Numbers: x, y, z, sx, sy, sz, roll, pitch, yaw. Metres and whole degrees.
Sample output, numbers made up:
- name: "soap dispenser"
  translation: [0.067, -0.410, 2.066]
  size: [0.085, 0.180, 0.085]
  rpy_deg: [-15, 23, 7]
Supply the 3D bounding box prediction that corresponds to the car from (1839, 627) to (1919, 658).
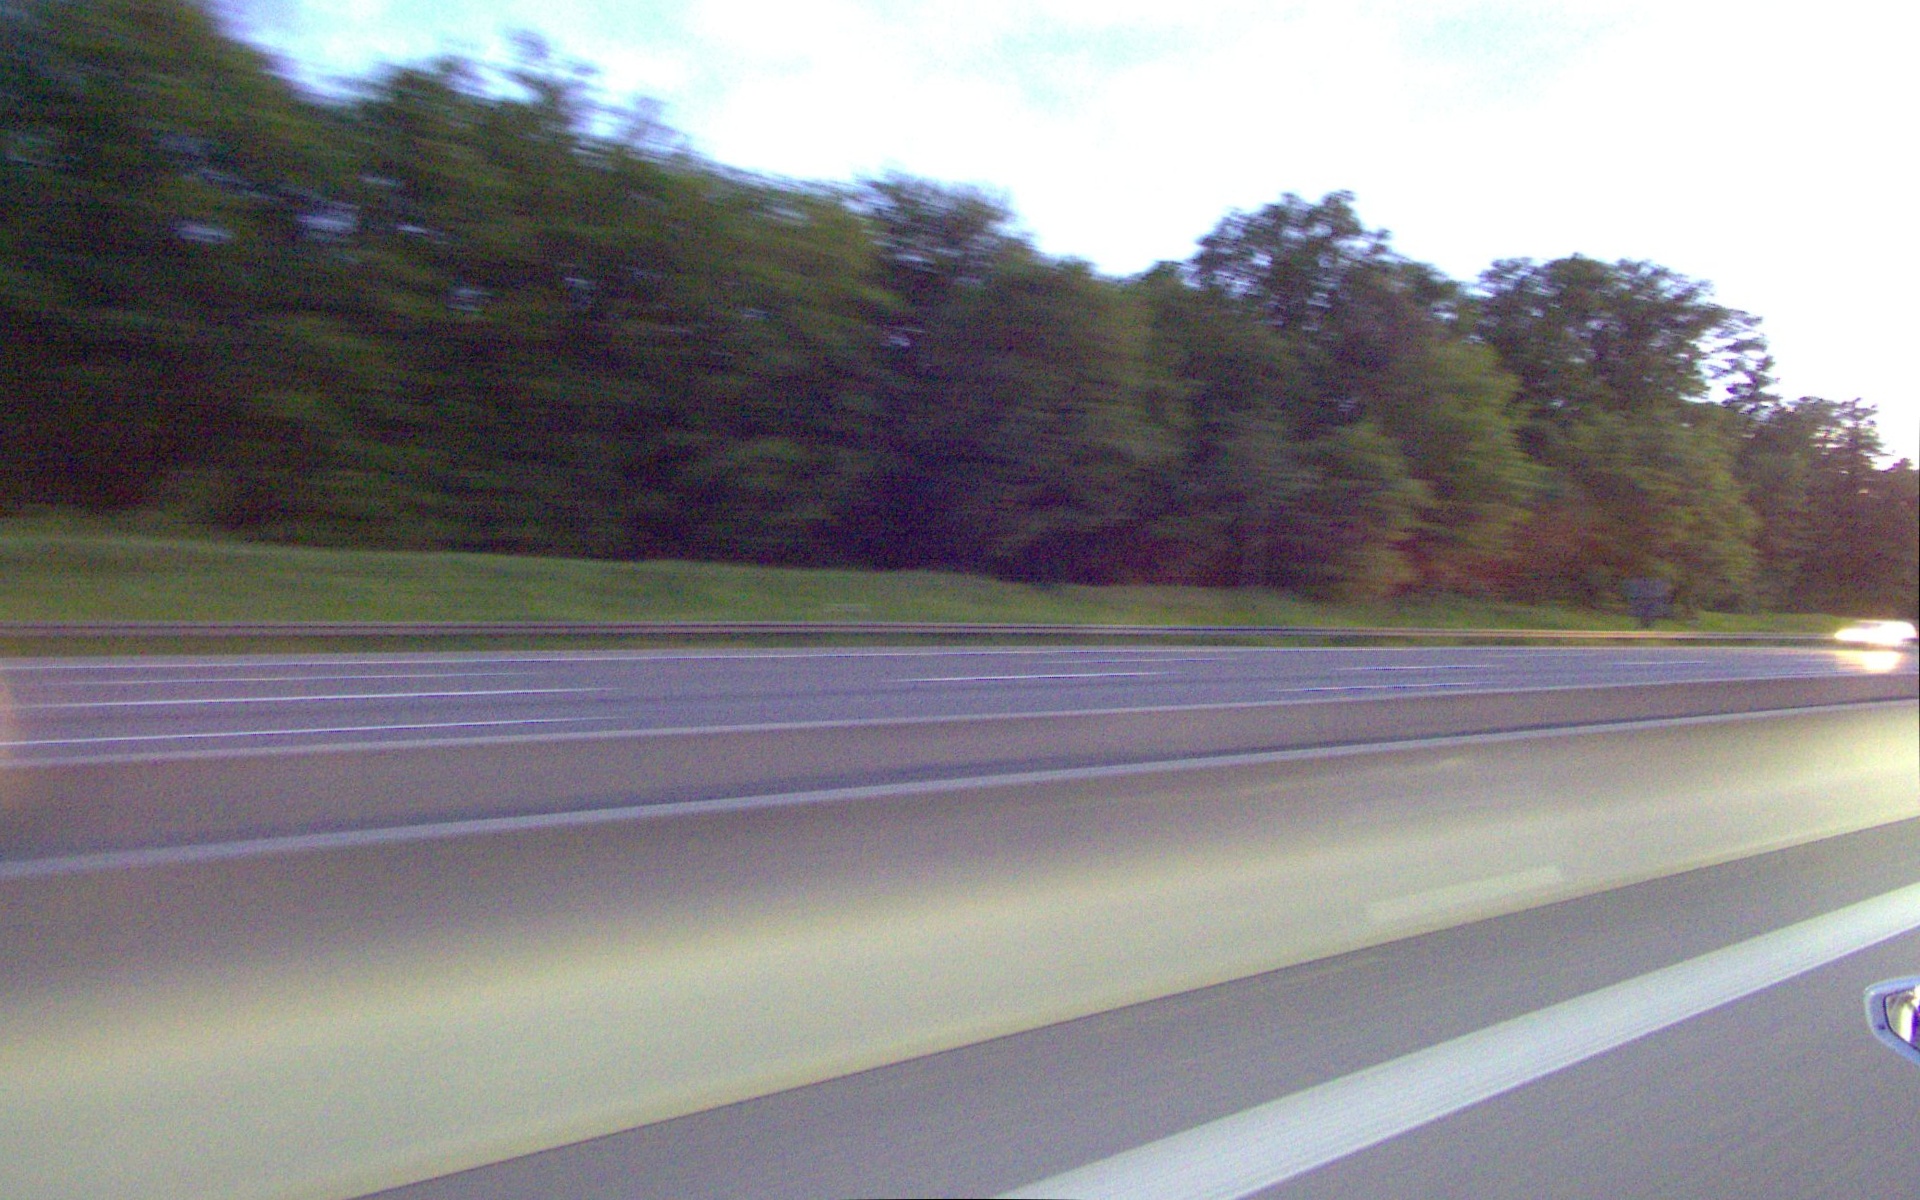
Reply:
- name: "car"
  translation: [47.788, 2.178, 52.116]
  size: [3.945, 1.483, 1.837]
  rpy_deg: [1, 1, -25]
